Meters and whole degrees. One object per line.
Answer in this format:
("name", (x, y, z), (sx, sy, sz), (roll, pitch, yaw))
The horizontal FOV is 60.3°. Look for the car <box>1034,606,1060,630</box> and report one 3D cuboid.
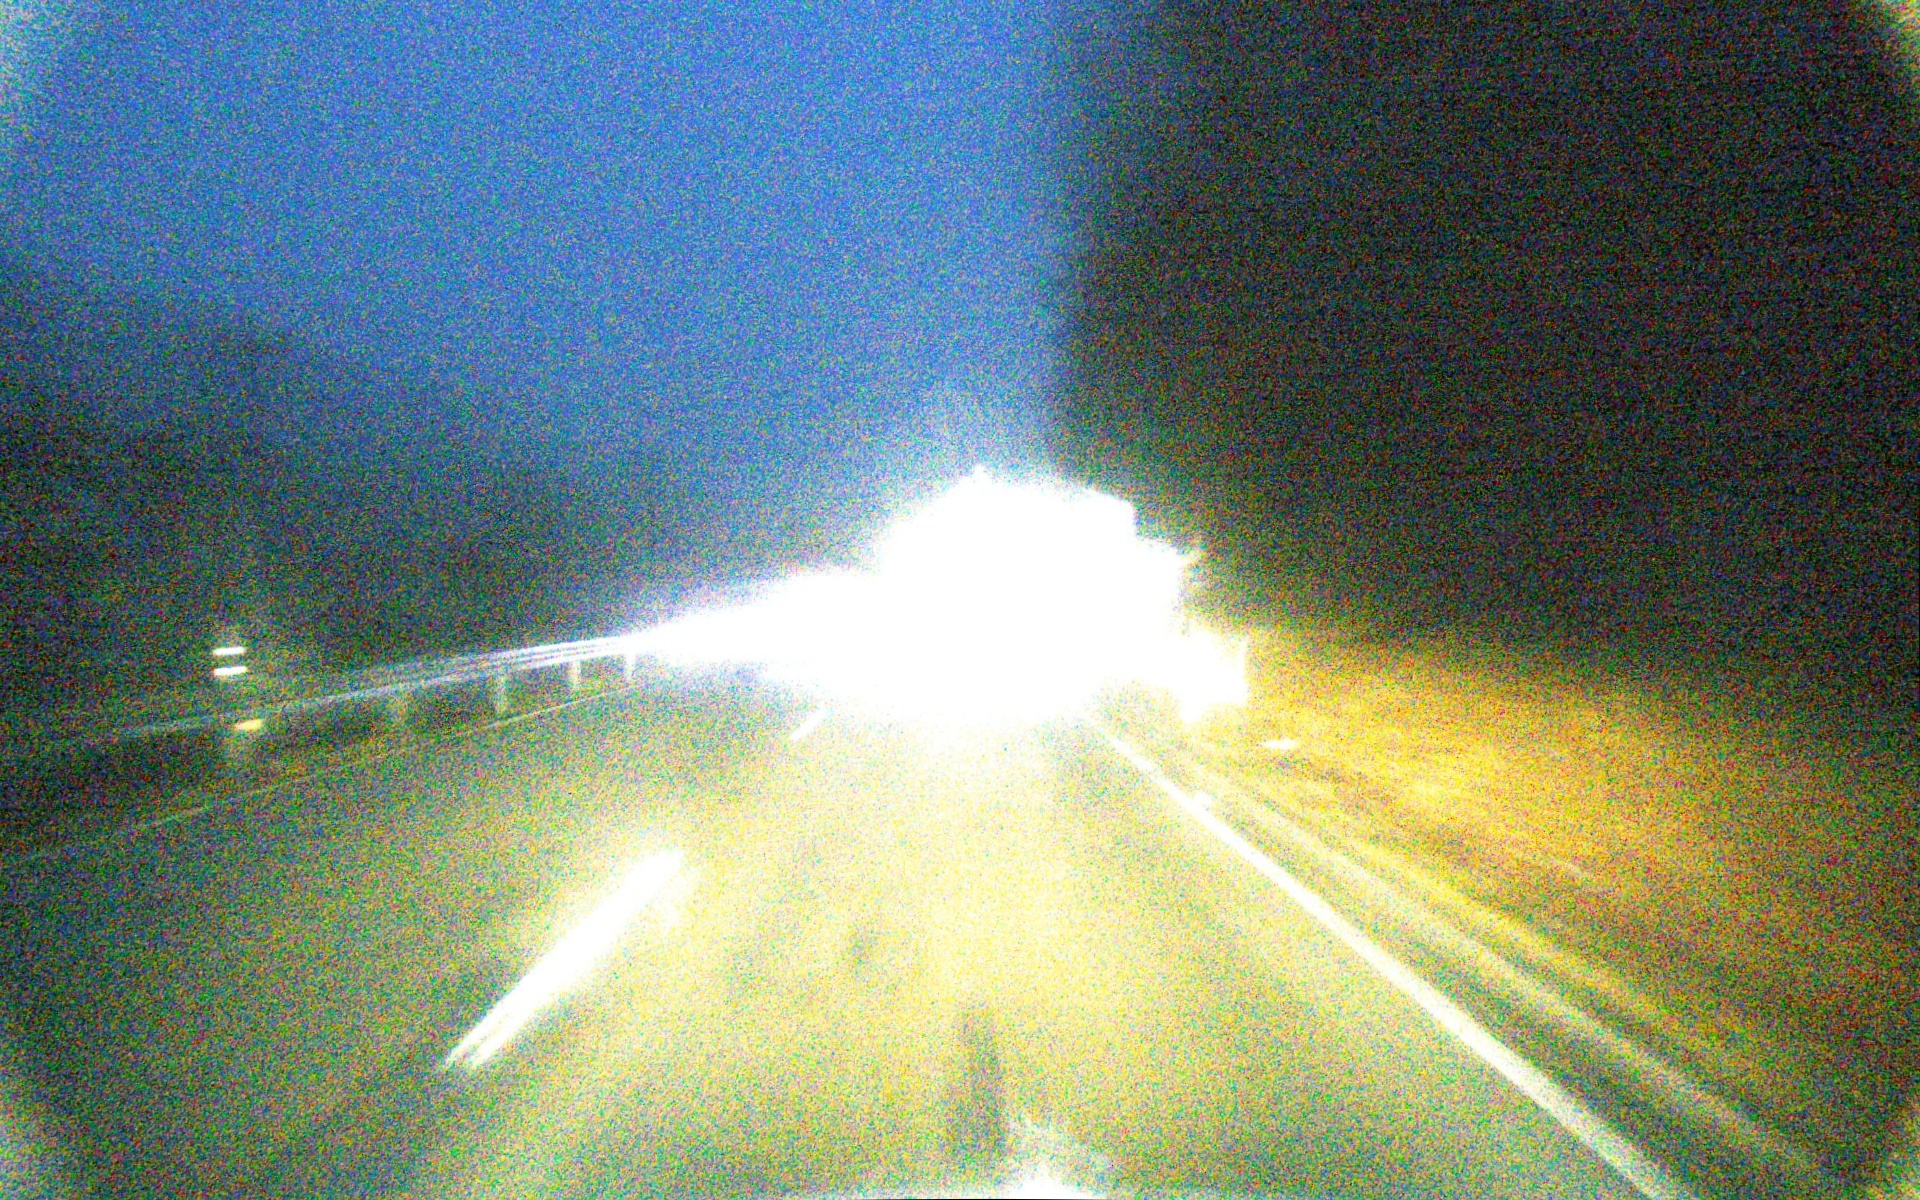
("car", (6.603, 1.403, 125.358), (1.952, 1.722, 4.699), (0, -1, 4))
